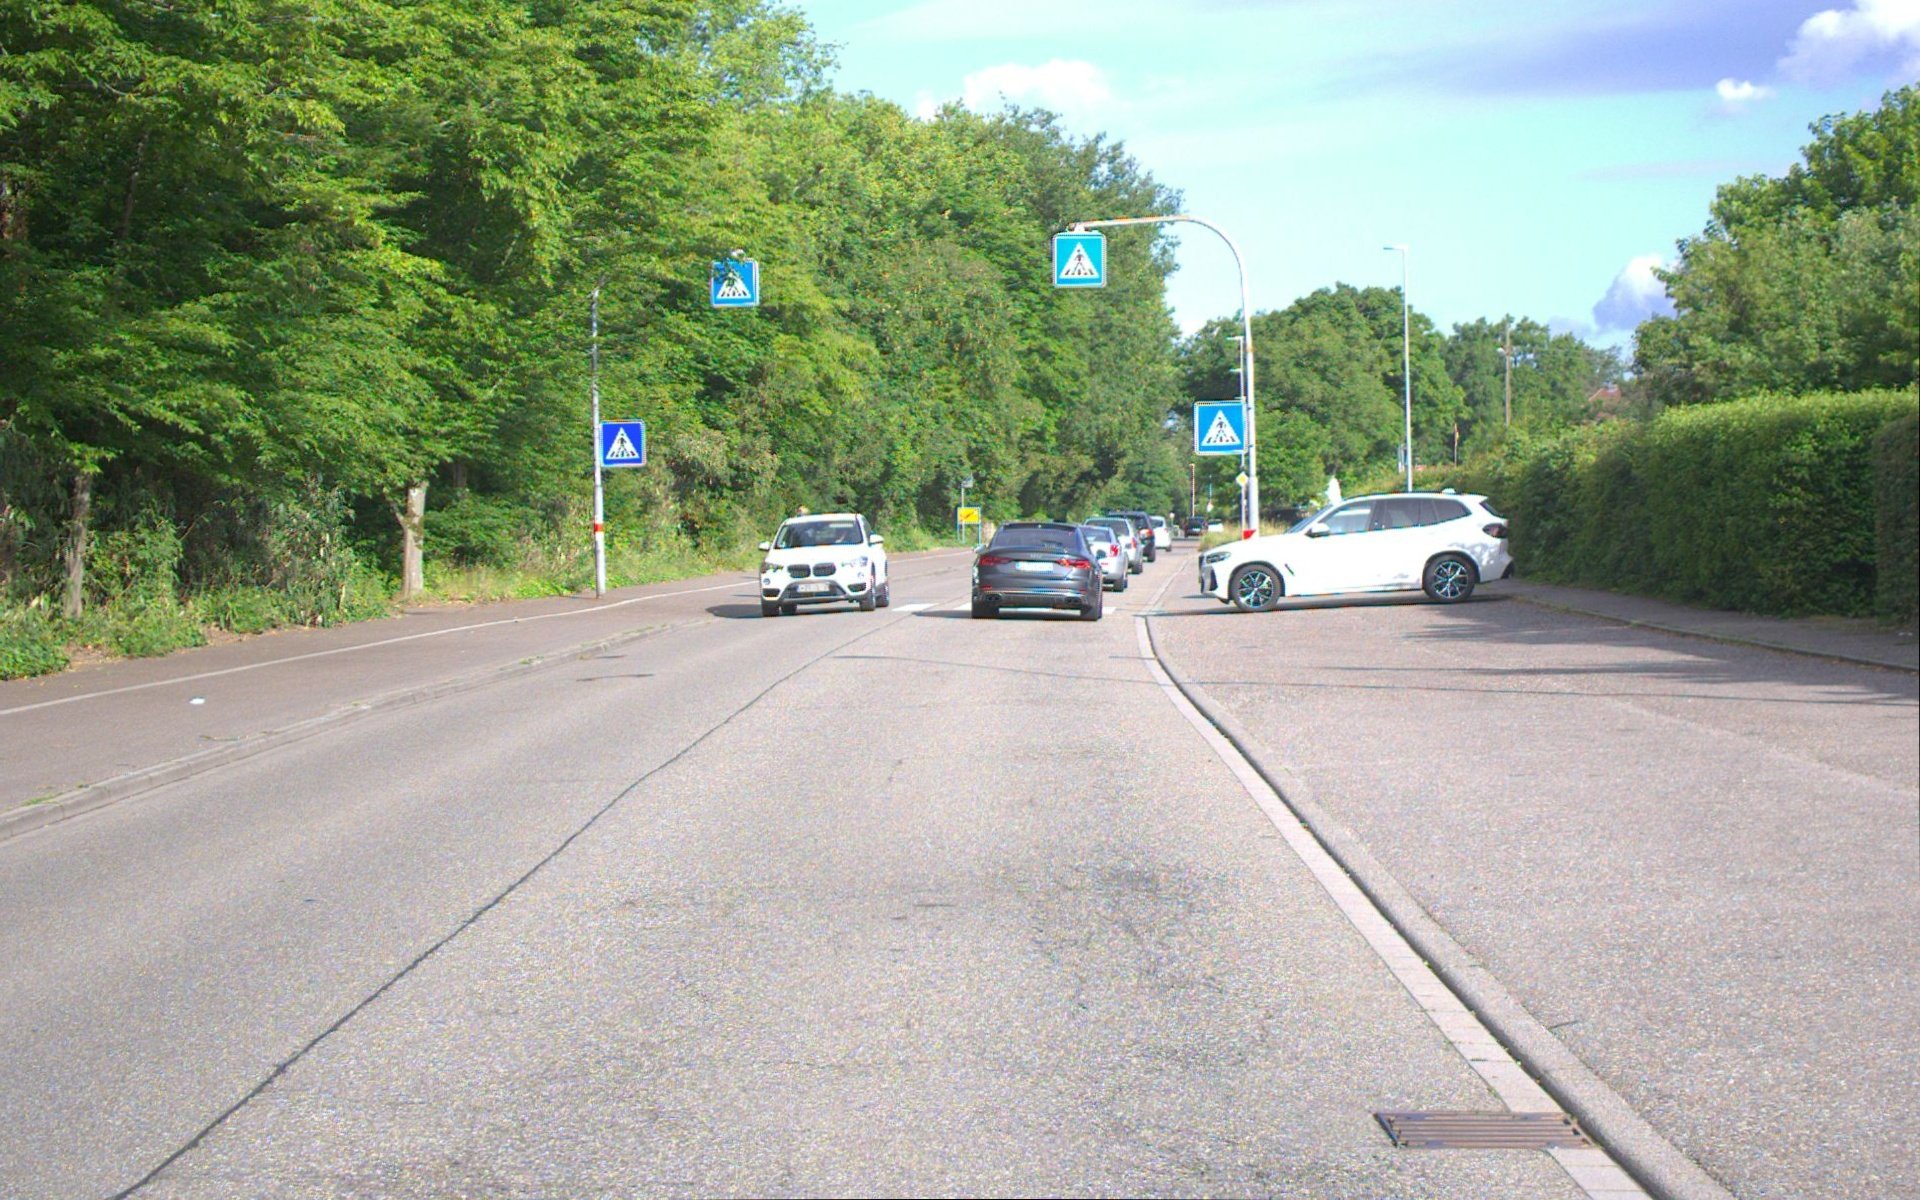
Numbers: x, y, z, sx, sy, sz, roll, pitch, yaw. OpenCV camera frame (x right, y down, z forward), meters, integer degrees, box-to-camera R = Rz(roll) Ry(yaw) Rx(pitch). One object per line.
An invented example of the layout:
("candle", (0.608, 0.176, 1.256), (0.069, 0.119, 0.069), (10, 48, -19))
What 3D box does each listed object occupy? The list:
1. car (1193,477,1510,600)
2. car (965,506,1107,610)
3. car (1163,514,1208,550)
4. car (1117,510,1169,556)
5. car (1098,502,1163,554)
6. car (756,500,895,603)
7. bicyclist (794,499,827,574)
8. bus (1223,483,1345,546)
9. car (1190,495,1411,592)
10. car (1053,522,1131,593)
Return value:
("car", (5.834, -0.920, 51.480), (4.588, 1.693, 1.763), (-2, 1, 5))
("car", (1.089, -0.642, 50.281), (1.966, 1.429, 4.336), (1, 2, 1))
("car", (8.755, -2.640, 133.598), (1.495, 1.361, 3.261), (-1, 2, 8))
("car", (5.697, -2.089, 106.927), (1.495, 1.361, 3.262), (-1, 2, 5))
("car", (4.348, -1.839, 87.283), (1.495, 1.300, 3.262), (-1, 2, 5))
("car", (-2.156, -0.797, 56.018), (1.802, 1.580, 4.101), (-1, 1, 4))
("bicyclist", (-3.384, -1.438, 77.871), (0.609, 1.671, 0.883), (1, 1, 5))
("bus", (14.764, -3.919, 157.065), (5.365, 2.737, 2.068), (-2, 2, 2))
("car", (6.166, -1.031, 62.569), (3.857, 1.485, 1.692), (-3, 2, 3))
("car", (2.669, -0.870, 68.981), (1.495, 1.361, 3.262), (-1, 2, 3))
